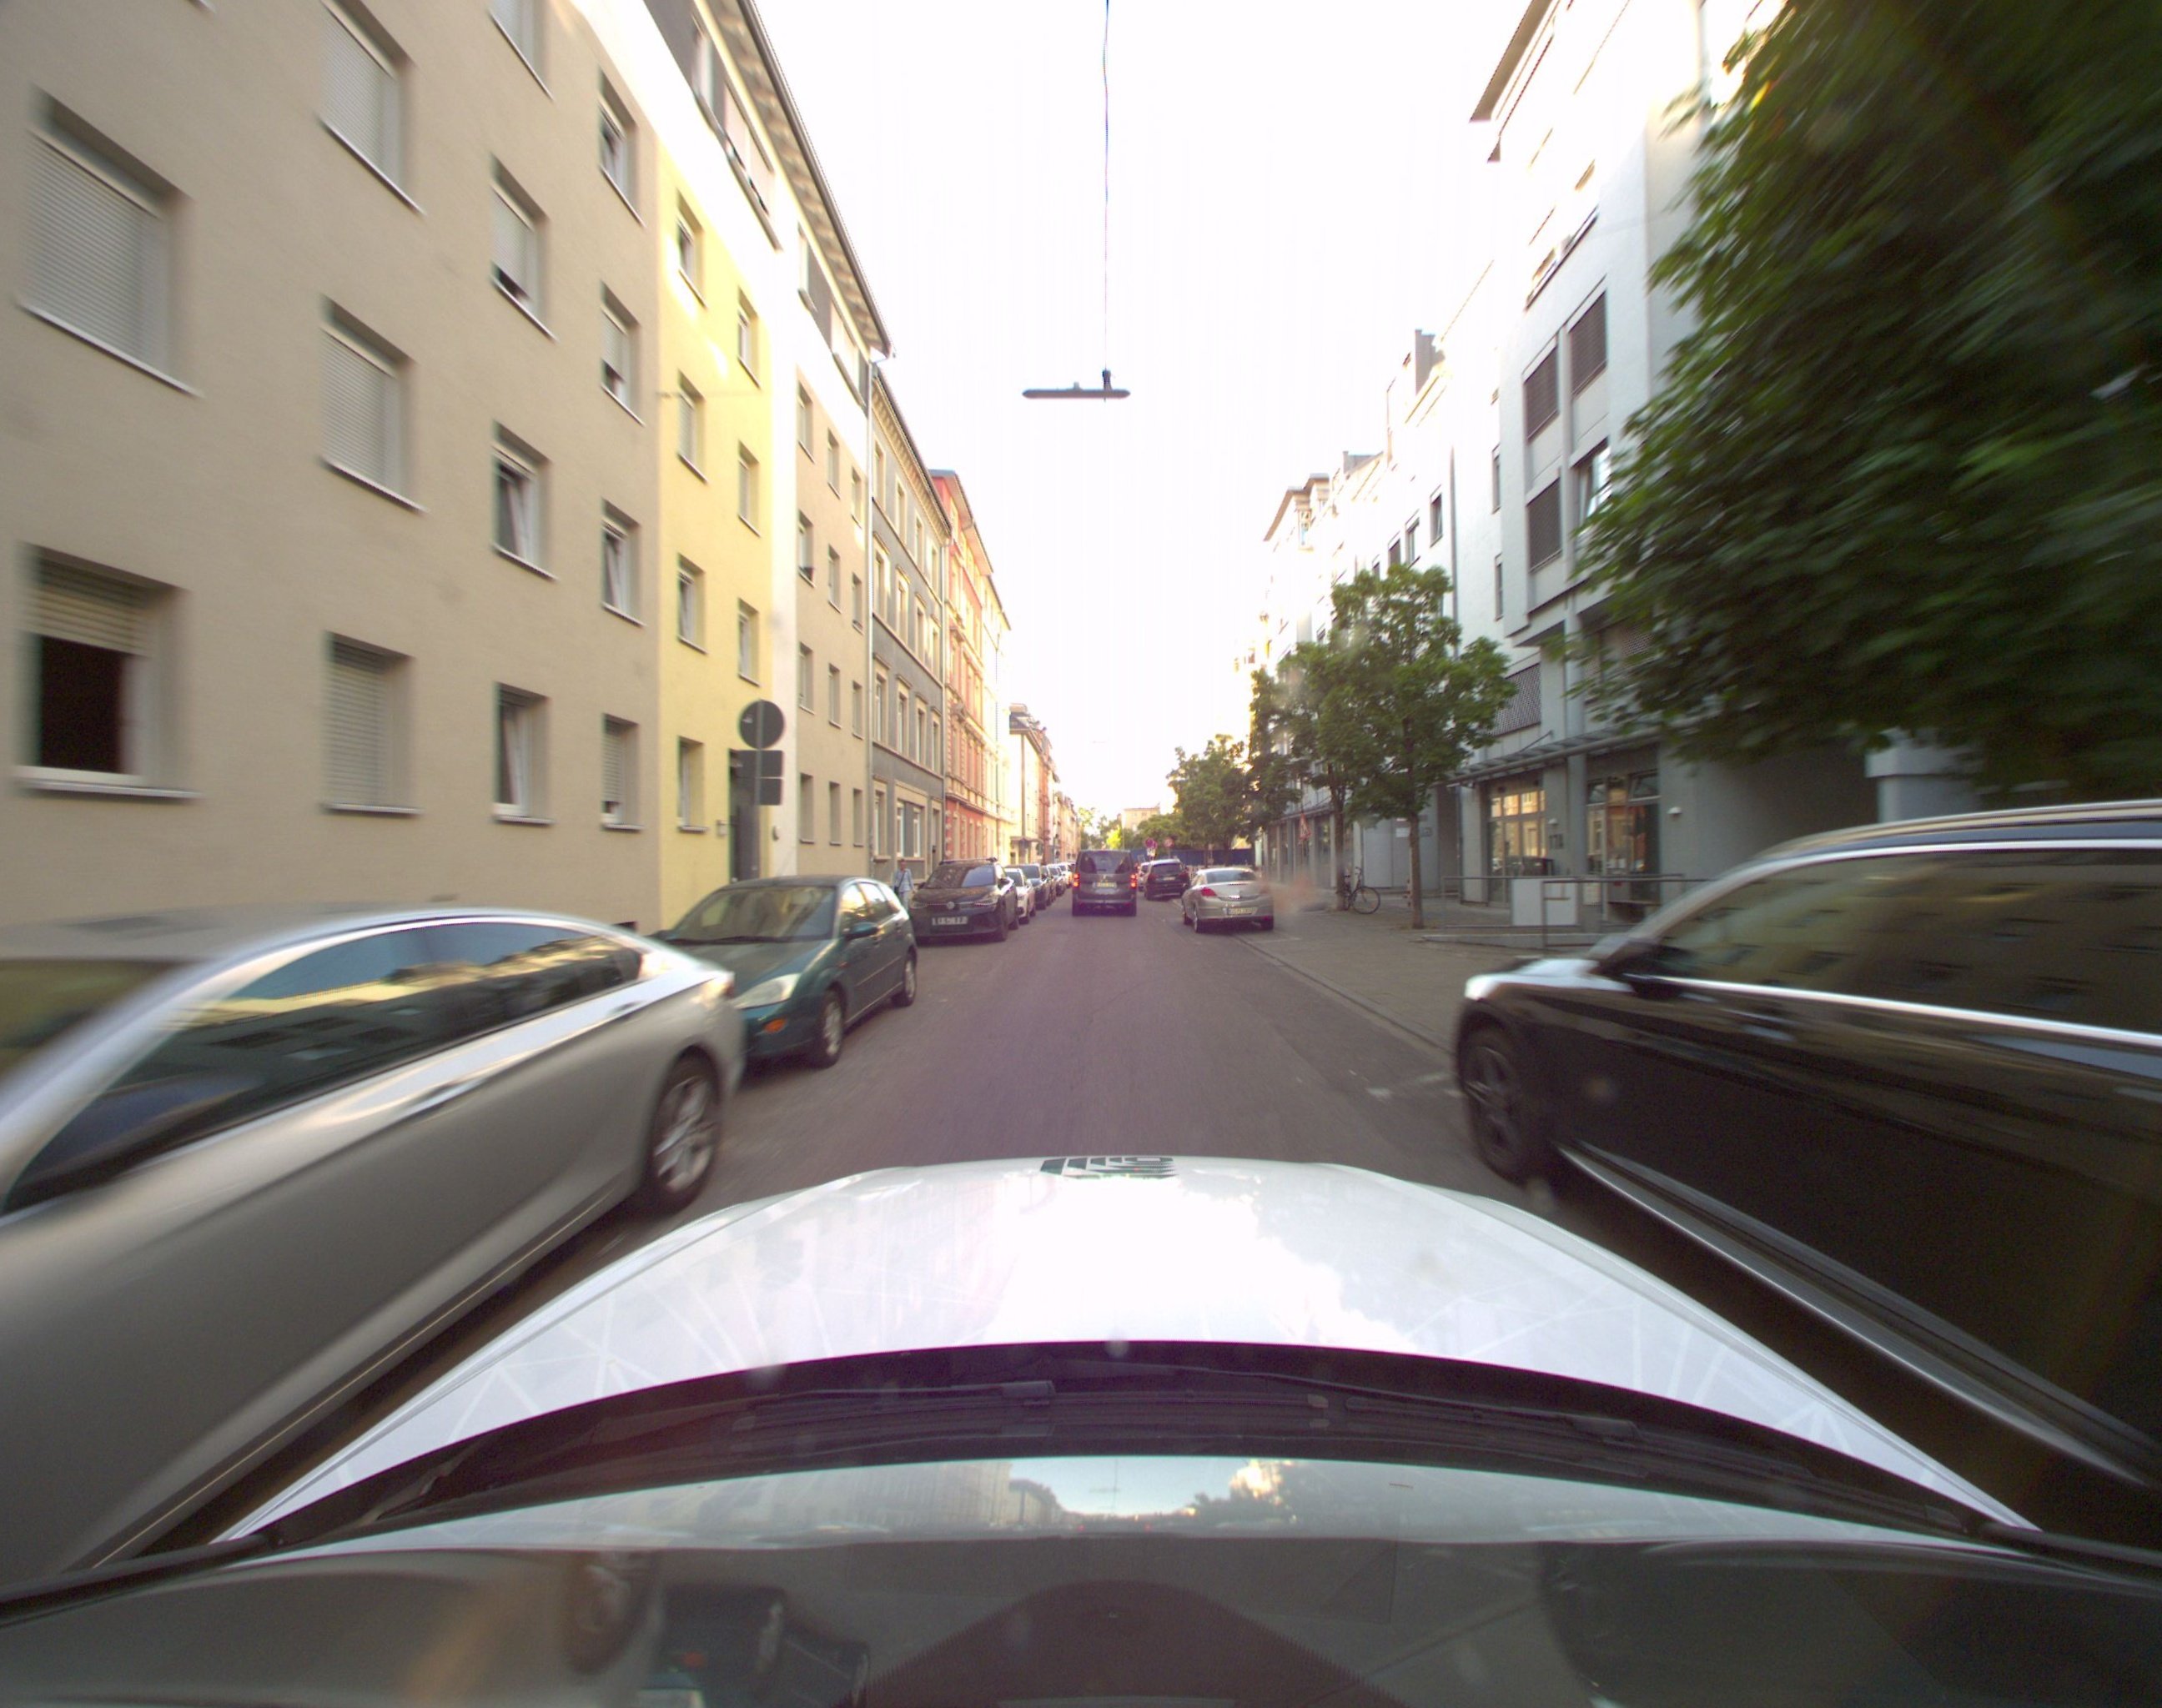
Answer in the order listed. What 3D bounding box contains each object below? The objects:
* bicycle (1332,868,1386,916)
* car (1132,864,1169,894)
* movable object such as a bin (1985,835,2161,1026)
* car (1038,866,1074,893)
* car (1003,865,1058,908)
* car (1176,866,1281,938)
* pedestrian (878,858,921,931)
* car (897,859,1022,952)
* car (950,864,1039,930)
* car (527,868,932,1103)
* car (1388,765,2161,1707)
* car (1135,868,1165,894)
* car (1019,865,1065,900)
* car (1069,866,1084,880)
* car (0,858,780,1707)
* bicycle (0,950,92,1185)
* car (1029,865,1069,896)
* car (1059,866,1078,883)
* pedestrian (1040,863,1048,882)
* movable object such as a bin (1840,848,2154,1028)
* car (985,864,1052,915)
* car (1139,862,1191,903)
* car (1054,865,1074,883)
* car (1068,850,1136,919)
[{"bbox_3d":[7.142,0.957,20.993,0.520,1.168,1.735,-2,-1,-9],"label":"bicycle"},{"bbox_3d":[3.780,1.353,44.767,1.671,1.525,3.969,-2,-1,0],"label":"car"},{"bbox_3d":[8.709,0.567,6.683,1.257,1.436,1.139,-1,-1,1],"label":"movable object such as a bin"},{"bbox_3d":[-1.506,1.522,50.266,1.914,1.507,4.268,-2,-1,1],"label":"car"},{"bbox_3d":[-2.038,1.296,33.973,1.894,1.560,4.240,-2,-1,0],"label":"car"},{"bbox_3d":[3.317,1.040,19.137,1.757,1.429,4.346,-2,-1,1],"label":"car"},{"bbox_3d":[-4.639,1.023,20.906,0.786,1.790,1.092,-2,-1,1],"label":"pedestrian"},{"bbox_3d":[-2.437,0.978,17.498,1.914,1.663,4.469,-2,-1,0],"label":"car"},{"bbox_3d":[-2.277,1.109,22.527,1.914,1.560,4.267,-2,-1,0],"label":"car"},{"bbox_3d":[-2.730,0.908,7.597,1.773,1.488,4.421,-2,-1,1],"label":"car"},{"bbox_3d":[2.743,0.665,2.524,1.864,1.635,4.723,-2,-1,1],"label":"car"},{"bbox_3d":[4.177,1.623,49.486,1.669,1.476,3.733,-2,-1,4],"label":"car"},{"bbox_3d":[-1.812,1.342,39.444,1.914,1.484,4.267,-2,-1,0],"label":"car"},{"bbox_3d":[-0.642,2.738,118.977,1.887,1.847,4.345,4,-2,-2],"label":"car"},{"bbox_3d":[-2.742,0.801,2.376,1.916,1.488,4.617,-2,-1,1],"label":"car"},{"bbox_3d":[-5.881,1.121,3.634,0.608,1.168,1.923,-2,-1,-1],"label":"bicycle"},{"bbox_3d":[-1.718,1.421,44.866,1.914,1.560,4.267,-2,-1,0],"label":"car"},{"bbox_3d":[-1.350,2.253,89.430,1.887,1.720,3.750,4,-2,-2],"label":"car"},{"bbox_3d":[-3.386,1.697,74.693,0.738,1.664,0.703,0,-1,-3],"label":"pedestrian"},{"bbox_3d":[7.411,0.639,6.692,1.257,1.321,1.139,-1,-1,1],"label":"movable object such as a bin"},{"bbox_3d":[-2.112,1.178,28.629,1.914,1.560,4.267,-2,-1,0],"label":"car"},{"bbox_3d":[3.615,1.225,35.630,1.878,1.622,4.435,-2,-1,1],"label":"car"},{"bbox_3d":[-1.535,1.840,73.369,1.652,1.460,3.414,4,-2,-2],"label":"car"},{"bbox_3d":[0.654,0.911,24.606,1.858,1.887,4.236,1,-2,2],"label":"car"}]
